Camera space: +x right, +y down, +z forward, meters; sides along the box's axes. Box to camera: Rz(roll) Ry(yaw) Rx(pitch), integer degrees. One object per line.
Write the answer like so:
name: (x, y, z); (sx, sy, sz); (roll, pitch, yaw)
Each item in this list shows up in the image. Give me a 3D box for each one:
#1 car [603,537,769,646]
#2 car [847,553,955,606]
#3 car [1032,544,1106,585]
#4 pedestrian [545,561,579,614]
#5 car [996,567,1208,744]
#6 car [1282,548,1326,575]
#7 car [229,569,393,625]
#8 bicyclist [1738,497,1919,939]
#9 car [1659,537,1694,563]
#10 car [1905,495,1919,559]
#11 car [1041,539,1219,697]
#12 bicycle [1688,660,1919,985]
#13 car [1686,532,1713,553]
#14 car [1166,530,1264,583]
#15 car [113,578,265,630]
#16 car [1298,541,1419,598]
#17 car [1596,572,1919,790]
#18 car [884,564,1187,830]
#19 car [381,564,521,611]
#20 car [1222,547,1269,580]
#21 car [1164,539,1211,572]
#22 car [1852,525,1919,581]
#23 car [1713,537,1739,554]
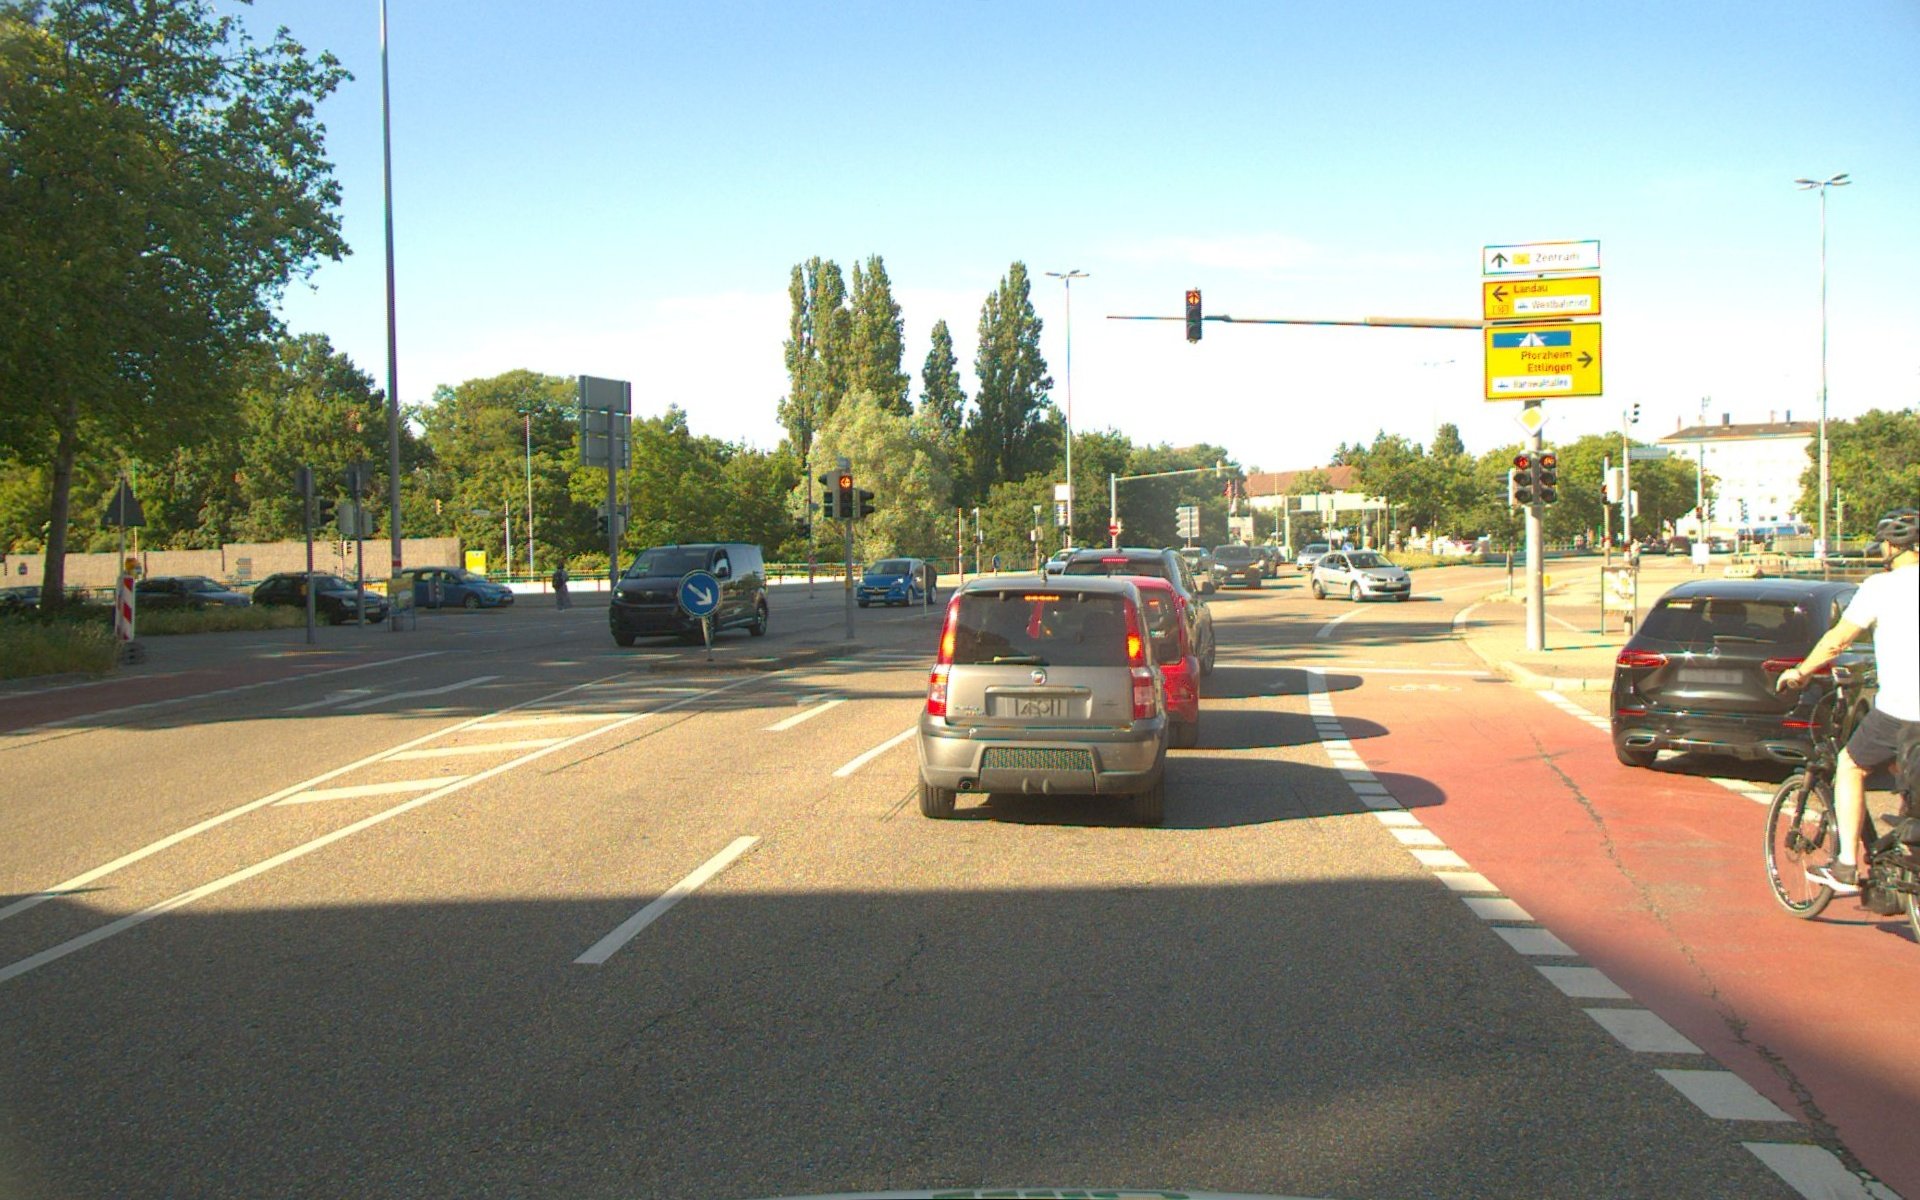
car: (-5.295, -0.221, 32.702); (1.951, 1.969, 4.856); (-1, 1, 6)
car: (-1.795, -0.663, 52.078); (1.782, 1.529, 4.452); (-1, 1, 21)
car: (4.749, -1.549, 71.422); (1.796, 1.682, 4.629); (-1, 1, 22)
pedestrian: (-12.416, -0.393, 51.595); (0.672, 1.565, 1.366); (0, -3, 1)
car: (1.427, 0.441, 16.103); (1.781, 1.505, 4.003); (-1, 1, 6)
car: (18.856, -2.124, 90.587); (1.730, 1.411, 4.362); (-1, 2, 20)
car: (-18.347, -0.074, 46.732); (4.348, 1.463, 1.825); (-1, 1, 25)
bicyclist: (3.966, 0.462, 7.039); (0.783, 1.735, 1.085); (1, 0, -1)
car: (57.295, -3.991, 132.193); (1.958, 1.825, 3.989); (0, -1, 32)
car: (42.709, -3.113, 69.431); (2.239, 2.653, 4.818); (1, -1, -39)
car: (2.313, 0.139, 21.515); (1.829, 1.821, 4.419); (1, 2, 12)
bicycle: (3.966, 0.870, 6.902); (0.783, 1.130, 2.402); (1, 0, 0)
car: (66.514, -5.193, 148.781); (1.955, 1.825, 3.995); (-1, 1, 28)
car: (9.799, -1.650, 63.846); (1.964, 1.868, 4.335); (0, -1, -19)
car: (-23.521, 0.118, 50.426); (4.348, 1.463, 1.825); (-1, 1, 25)
car: (11.951, -0.926, 49.869); (1.790, 1.610, 4.088); (-2, 1, -15)
car: (6.915, 0.551, 13.854); (1.725, 1.519, 3.978); (2, 2, 41)
car: (0.711, 0.525, 11.818); (1.781, 1.515, 4.004); (1, 2, 8)
car: (-17.427, -0.421, 56.633); (4.344, 1.463, 1.827); (-1, 1, 20)
car: (13.730, -1.724, 79.305); (1.951, 1.478, 4.003); (-1, 0, 14)
car: (12.413, -2.392, 90.005); (1.651, 1.482, 3.913); (-2, -2, 21)
car: (37.020, -1.828, 64.195); (3.928, 2.049, 1.988); (-1, -1, 42)
car: (77.170, -5.472, 166.630); (1.957, 1.668, 3.991); (-1, 1, 31)
